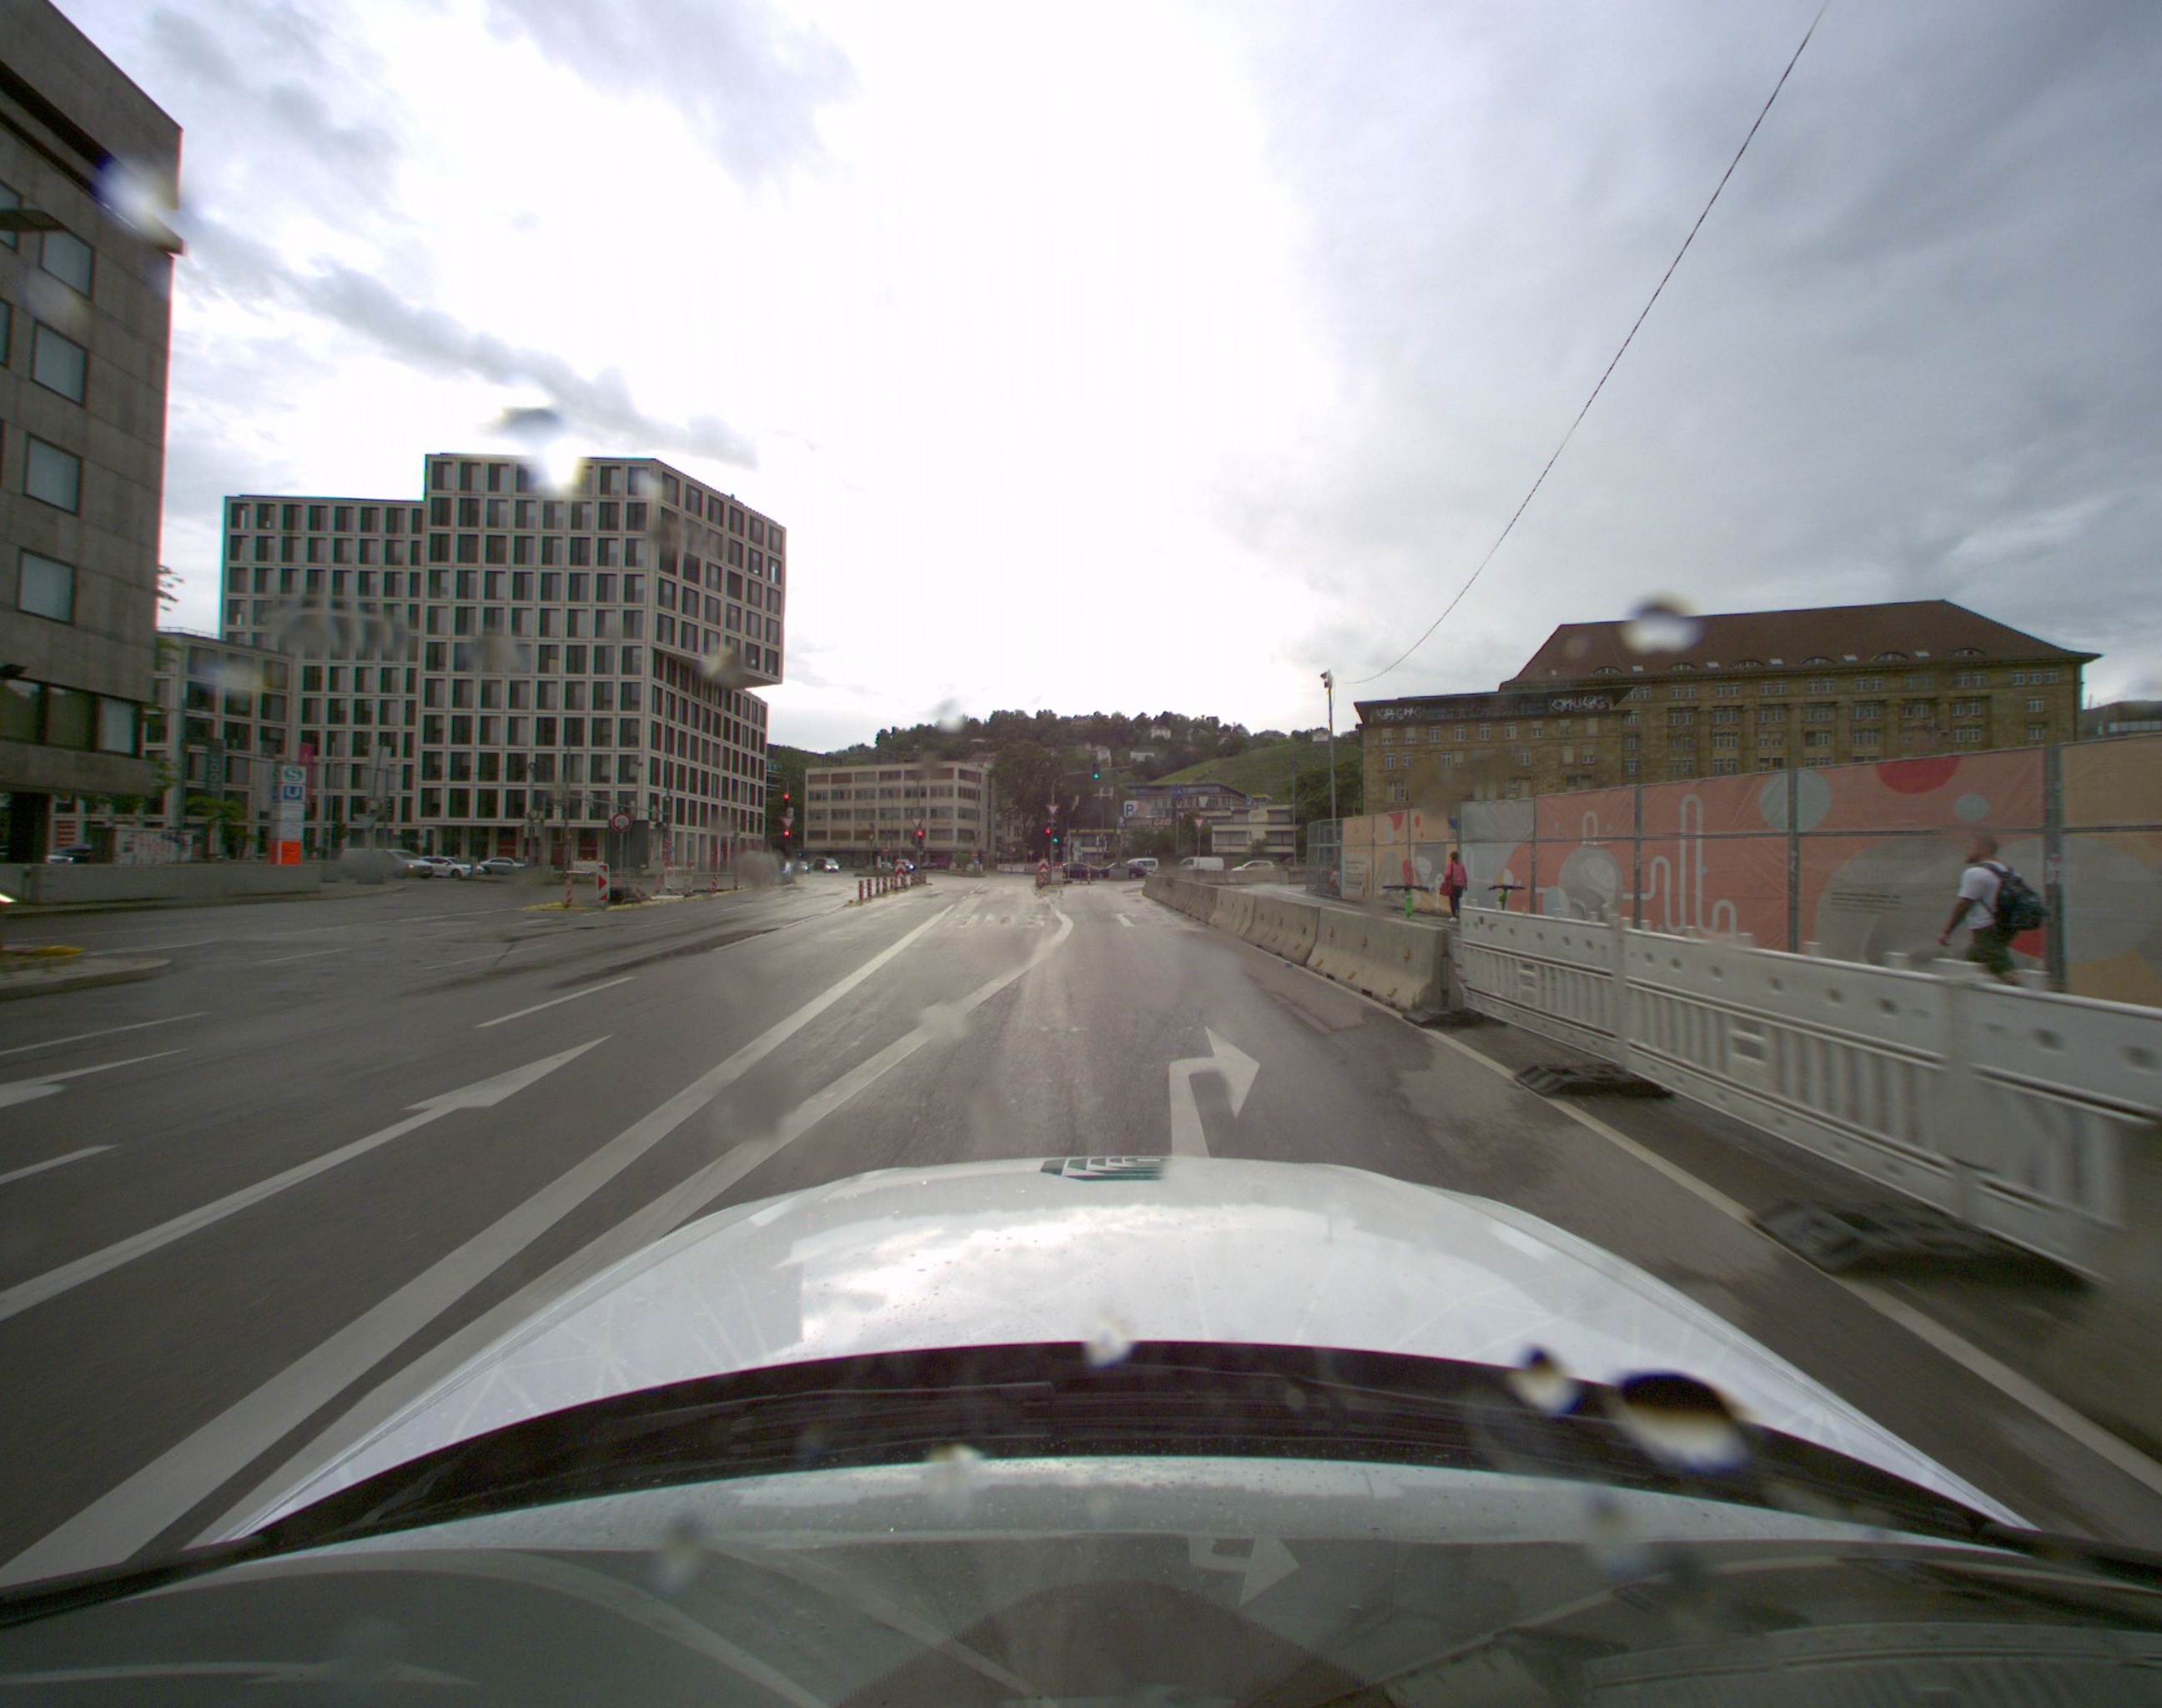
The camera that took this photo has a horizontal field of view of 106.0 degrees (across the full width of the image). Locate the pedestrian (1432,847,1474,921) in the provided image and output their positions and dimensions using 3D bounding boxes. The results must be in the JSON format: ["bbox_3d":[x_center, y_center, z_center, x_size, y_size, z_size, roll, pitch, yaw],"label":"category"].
[{"bbox_3d":[9.490,0.754,20.796,0.718,1.866,0.708,0,0,-5],"label":"pedestrian"}]

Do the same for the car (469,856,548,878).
[{"bbox_3d":[-43.216,0.944,61.546,4.626,1.598,2.021,0,0,5],"label":"car"}]

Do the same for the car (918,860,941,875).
[{"bbox_3d":[-21.998,1.933,118.374,2.007,2.014,3.960,1,0,-31],"label":"car"}]

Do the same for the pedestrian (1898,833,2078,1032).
[{"bbox_3d":[9.039,0.738,8.162,0.702,1.866,0.989,0,0,-3],"label":"pedestrian"}]

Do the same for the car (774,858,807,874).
[{"bbox_3d":[-32.020,1.333,90.018,2.218,1.753,4.805,0,-1,-4],"label":"car"}]

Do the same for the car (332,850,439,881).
[{"bbox_3d":[-44.229,0.727,51.875,5.047,1.904,2.089,0,-1,2],"label":"car"}]

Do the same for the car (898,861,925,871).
[{"bbox_3d":[-26.196,1.815,125.986,4.025,1.492,1.746,0,0,32],"label":"car"}]

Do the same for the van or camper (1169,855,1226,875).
[{"bbox_3d":[11.297,1.096,78.806,5.187,1.894,1.884,0,-1,-6],"label":"van or camper"}]

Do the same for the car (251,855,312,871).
[{"bbox_3d":[-75.473,0.848,76.909,3.968,1.523,1.870,0,-1,5],"label":"car"}]

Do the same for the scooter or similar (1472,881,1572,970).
[{"bbox_3d":[6.404,1.001,11.898,0.468,1.183,1.409,1,0,-13],"label":"scooter or similar"}]

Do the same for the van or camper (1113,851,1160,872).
[{"bbox_3d":[5.339,0.690,78.666,4.236,1.979,1.848,0,-1,-6],"label":"van or camper"}]

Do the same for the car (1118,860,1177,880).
[{"bbox_3d":[5.540,1.328,67.870,4.641,1.598,2.015,0,0,-5],"label":"car"}]

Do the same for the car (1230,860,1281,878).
[{"bbox_3d":[16.216,1.361,75.927,4.352,1.673,1.847,0,-1,-1],"label":"car"}]

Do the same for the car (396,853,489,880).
[{"bbox_3d":[-43.152,0.837,55.115,4.633,1.738,2.018,0,-1,0],"label":"car"}]

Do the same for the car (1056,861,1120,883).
[{"bbox_3d":[0.521,1.382,63.395,4.660,1.598,2.006,0,-1,-18],"label":"car"}]

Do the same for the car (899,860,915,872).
[{"bbox_3d":[-20.713,1.409,96.799,1.832,1.486,3.983,0,0,-12],"label":"car"}]

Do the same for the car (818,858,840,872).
[{"bbox_3d":[-32.611,1.407,105.404,1.812,1.816,3.959,1,0,-32],"label":"car"}]

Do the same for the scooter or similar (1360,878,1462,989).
[{"bbox_3d":[4.020,0.923,10.042,0.672,1.214,1.572,0,0,2],"label":"scooter or similar"}]

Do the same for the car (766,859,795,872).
[{"bbox_3d":[-41.504,1.557,112.324,3.948,1.816,1.817,0,0,36],"label":"car"}]
